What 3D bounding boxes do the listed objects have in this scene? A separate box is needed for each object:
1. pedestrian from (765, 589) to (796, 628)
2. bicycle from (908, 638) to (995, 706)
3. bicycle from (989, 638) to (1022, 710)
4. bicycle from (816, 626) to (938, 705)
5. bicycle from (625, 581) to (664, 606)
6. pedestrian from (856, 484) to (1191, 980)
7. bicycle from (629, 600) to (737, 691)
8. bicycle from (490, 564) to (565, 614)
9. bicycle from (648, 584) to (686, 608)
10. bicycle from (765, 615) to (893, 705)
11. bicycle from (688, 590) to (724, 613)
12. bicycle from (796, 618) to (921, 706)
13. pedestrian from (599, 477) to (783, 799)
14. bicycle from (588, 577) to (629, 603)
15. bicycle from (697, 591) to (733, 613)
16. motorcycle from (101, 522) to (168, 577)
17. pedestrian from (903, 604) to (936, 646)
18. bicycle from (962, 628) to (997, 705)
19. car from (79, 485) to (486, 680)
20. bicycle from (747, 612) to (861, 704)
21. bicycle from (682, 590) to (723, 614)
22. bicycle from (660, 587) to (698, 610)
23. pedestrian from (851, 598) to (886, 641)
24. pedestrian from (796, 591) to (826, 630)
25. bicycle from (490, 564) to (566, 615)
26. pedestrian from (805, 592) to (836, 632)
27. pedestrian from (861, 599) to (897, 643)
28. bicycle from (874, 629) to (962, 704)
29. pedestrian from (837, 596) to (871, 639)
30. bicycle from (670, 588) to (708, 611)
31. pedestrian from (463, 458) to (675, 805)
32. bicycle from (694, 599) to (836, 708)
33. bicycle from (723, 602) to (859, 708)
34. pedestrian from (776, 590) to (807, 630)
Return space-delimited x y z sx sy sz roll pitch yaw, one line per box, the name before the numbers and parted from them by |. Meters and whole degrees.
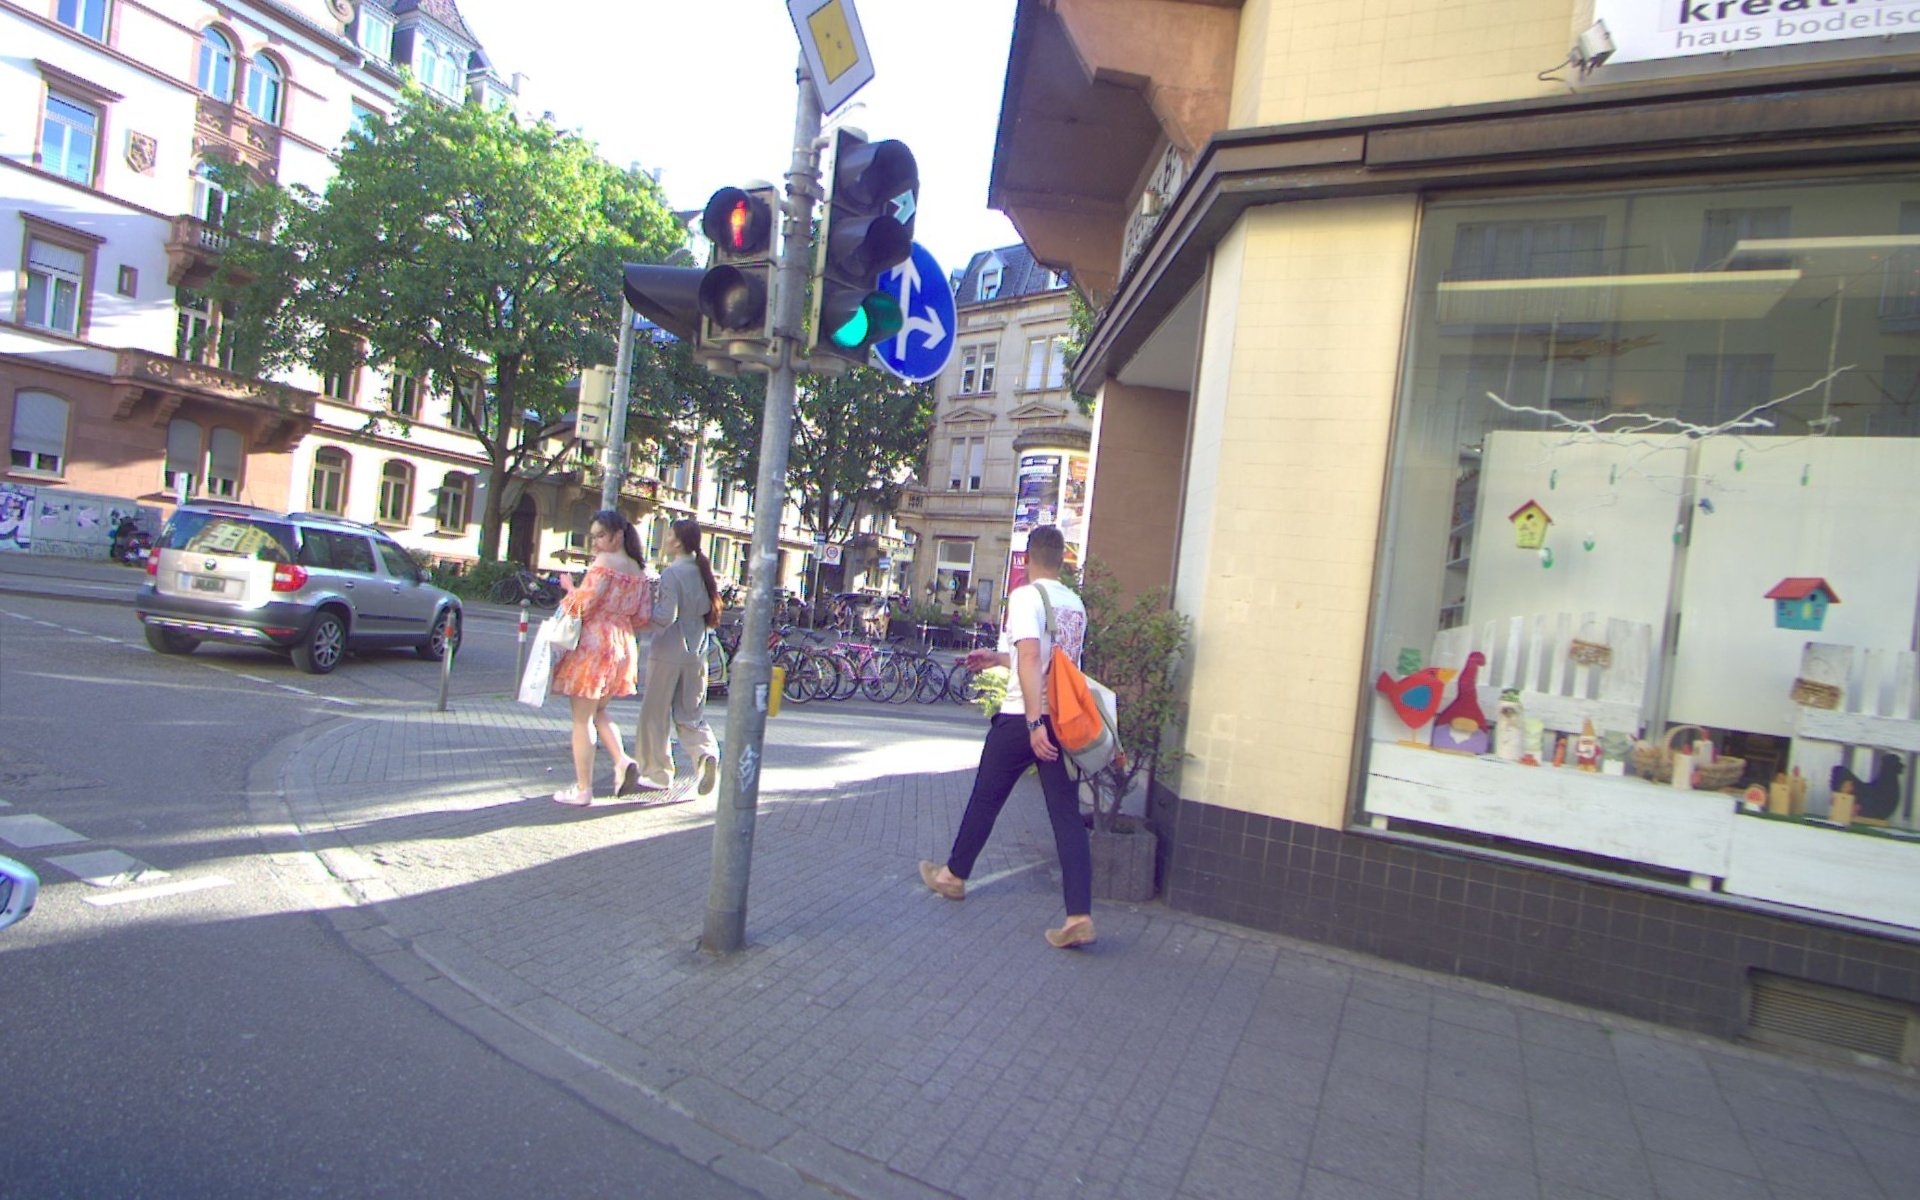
pedestrian | -7.021 0.337 39.326 0.904 1.448 0.759 2 3 -31
bicycle | -0.146 1.177 16.513 1.384 0.961 0.449 5 0 39
bicycle | 0.776 1.223 16.952 0.442 1.099 1.405 5 -1 3
bicycle | -1.298 0.996 15.500 1.888 1.012 0.449 5 0 31
bicycle | -13.847 -0.277 44.147 1.766 0.904 0.492 6 1 29
pedestrian | 0.284 0.480 4.361 1.072 1.826 0.806 7 5 25
bicycle | -3.566 0.588 12.956 1.047 1.057 0.778 5 -1 36
bicycle | -12.284 -0.311 28.577 1.842 1.176 0.555 7 2 -27
bicycle | -13.259 -0.178 45.542 1.766 0.904 0.492 6 1 29
bicycle | -1.919 0.855 14.639 1.888 1.112 0.449 5 0 31
bicycle | -12.157 0.054 48.159 1.766 0.904 0.492 6 1 29
bicycle | -1.536 0.909 15.098 1.888 1.112 0.449 5 0 31
pedestrian | -1.724 0.236 6.468 0.660 1.931 0.690 6 -1 39
bicycle | -14.842 -0.428 42.472 1.766 0.904 0.492 6 1 29
bicycle | -11.891 0.098 48.767 1.766 0.904 0.492 6 1 29
motorcycle | -19.857 -1.224 24.178 2.252 1.033 0.719 9 2 38
pedestrian | -1.474 0.904 36.404 0.757 1.448 0.907 2 3 -33
bicycle | 0.353 1.111 17.242 0.442 1.238 1.405 5 -1 3
car | -7.643 -0.158 11.953 1.964 1.637 3.999 9 0 -1
bicycle | -2.217 0.805 14.217 1.584 1.125 0.449 5 0 31
bicycle | -11.798 0.089 46.045 0.486 0.904 1.789 7 0 41
bicycle | -12.968 -0.075 46.464 1.766 0.904 0.492 6 1 29
pedestrian | -3.182 0.679 35.076 0.904 1.448 0.759 2 3 -31
pedestrian | -5.911 0.418 39.941 0.904 1.448 0.759 2 3 -31
bicycle | -12.034 -0.295 28.034 1.842 1.176 0.555 7 2 -27
pedestrian | -5.394 0.464 38.913 0.904 1.448 0.759 2 3 -30
pedestrian | -2.773 0.712 34.482 0.904 1.448 0.759 2 3 -30
bicycle | -0.684 1.058 16.121 1.384 1.055 0.448 5 0 39
pedestrian | -3.808 0.630 36.097 0.904 1.448 0.759 2 3 -30
bicycle | -12.693 -0.031 47.082 1.766 0.904 0.492 6 1 29
pedestrian | -2.264 0.149 5.825 0.750 1.826 0.803 9 6 40
bicycle | -2.590 0.683 13.245 1.888 1.238 0.504 5 0 31
bicycle | -2.315 0.725 13.685 1.888 1.238 0.449 5 0 31
pedestrian | -6.460 0.381 38.464 0.904 1.448 0.759 2 3 -30
